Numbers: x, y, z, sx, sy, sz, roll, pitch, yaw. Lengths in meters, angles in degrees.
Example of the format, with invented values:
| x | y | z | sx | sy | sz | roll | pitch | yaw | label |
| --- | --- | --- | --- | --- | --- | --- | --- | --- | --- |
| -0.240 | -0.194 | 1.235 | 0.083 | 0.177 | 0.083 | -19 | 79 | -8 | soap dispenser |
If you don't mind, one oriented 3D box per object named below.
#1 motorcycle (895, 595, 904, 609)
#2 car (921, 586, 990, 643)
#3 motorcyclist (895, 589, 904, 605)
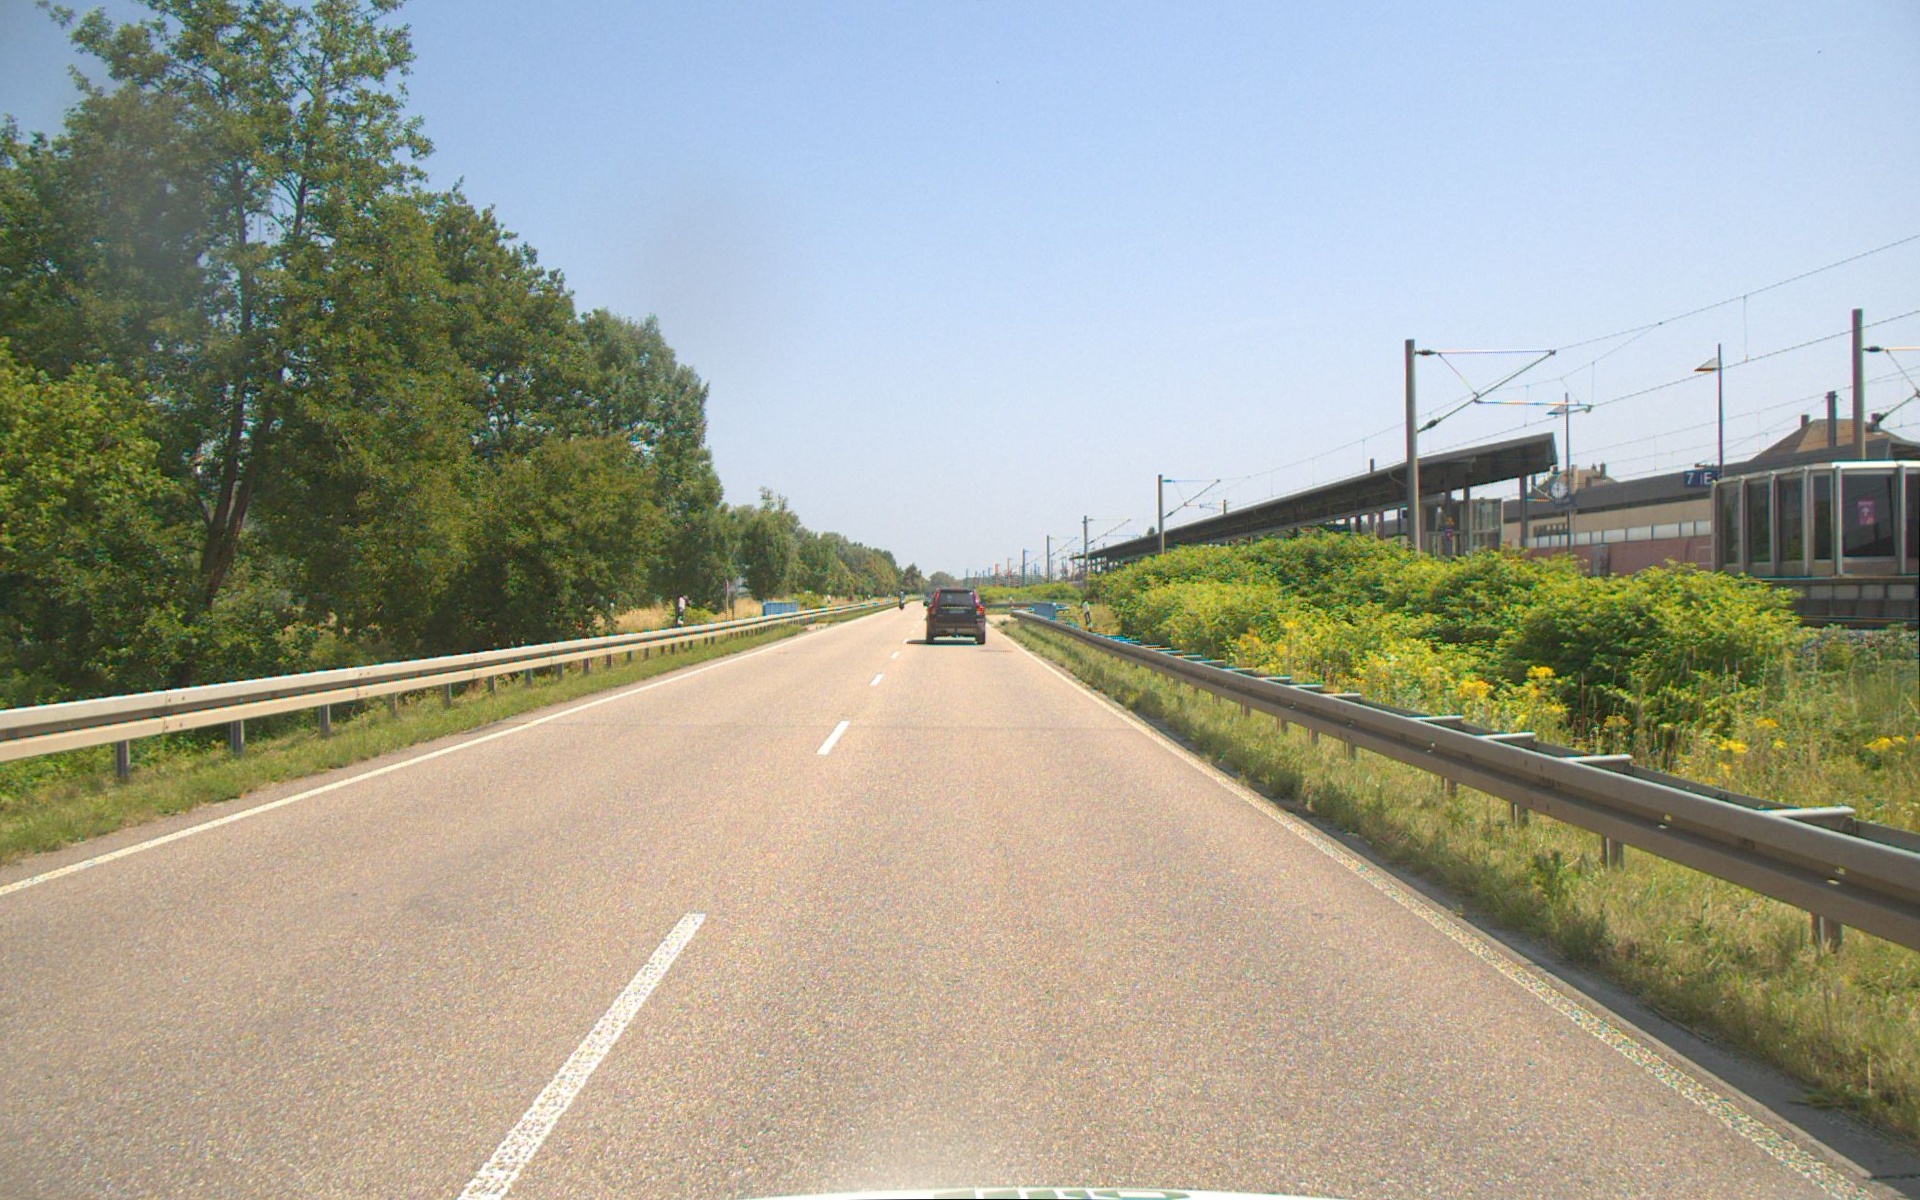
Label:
| x | y | z | sx | sy | sz | roll | pitch | yaw | label |
| --- | --- | --- | --- | --- | --- | --- | --- | --- | --- |
| -5.523 | 0.138 | 150.905 | 0.674 | 1.256 | 2.370 | 1 | 0 | 2 | motorcycle |
| -0.180 | 0.430 | 51.804 | 1.954 | 1.730 | 3.998 | 0 | 0 | -3 | car |
| -5.531 | -0.276 | 150.932 | 0.711 | 1.490 | 0.987 | 0 | 0 | 2 | motorcyclist |
